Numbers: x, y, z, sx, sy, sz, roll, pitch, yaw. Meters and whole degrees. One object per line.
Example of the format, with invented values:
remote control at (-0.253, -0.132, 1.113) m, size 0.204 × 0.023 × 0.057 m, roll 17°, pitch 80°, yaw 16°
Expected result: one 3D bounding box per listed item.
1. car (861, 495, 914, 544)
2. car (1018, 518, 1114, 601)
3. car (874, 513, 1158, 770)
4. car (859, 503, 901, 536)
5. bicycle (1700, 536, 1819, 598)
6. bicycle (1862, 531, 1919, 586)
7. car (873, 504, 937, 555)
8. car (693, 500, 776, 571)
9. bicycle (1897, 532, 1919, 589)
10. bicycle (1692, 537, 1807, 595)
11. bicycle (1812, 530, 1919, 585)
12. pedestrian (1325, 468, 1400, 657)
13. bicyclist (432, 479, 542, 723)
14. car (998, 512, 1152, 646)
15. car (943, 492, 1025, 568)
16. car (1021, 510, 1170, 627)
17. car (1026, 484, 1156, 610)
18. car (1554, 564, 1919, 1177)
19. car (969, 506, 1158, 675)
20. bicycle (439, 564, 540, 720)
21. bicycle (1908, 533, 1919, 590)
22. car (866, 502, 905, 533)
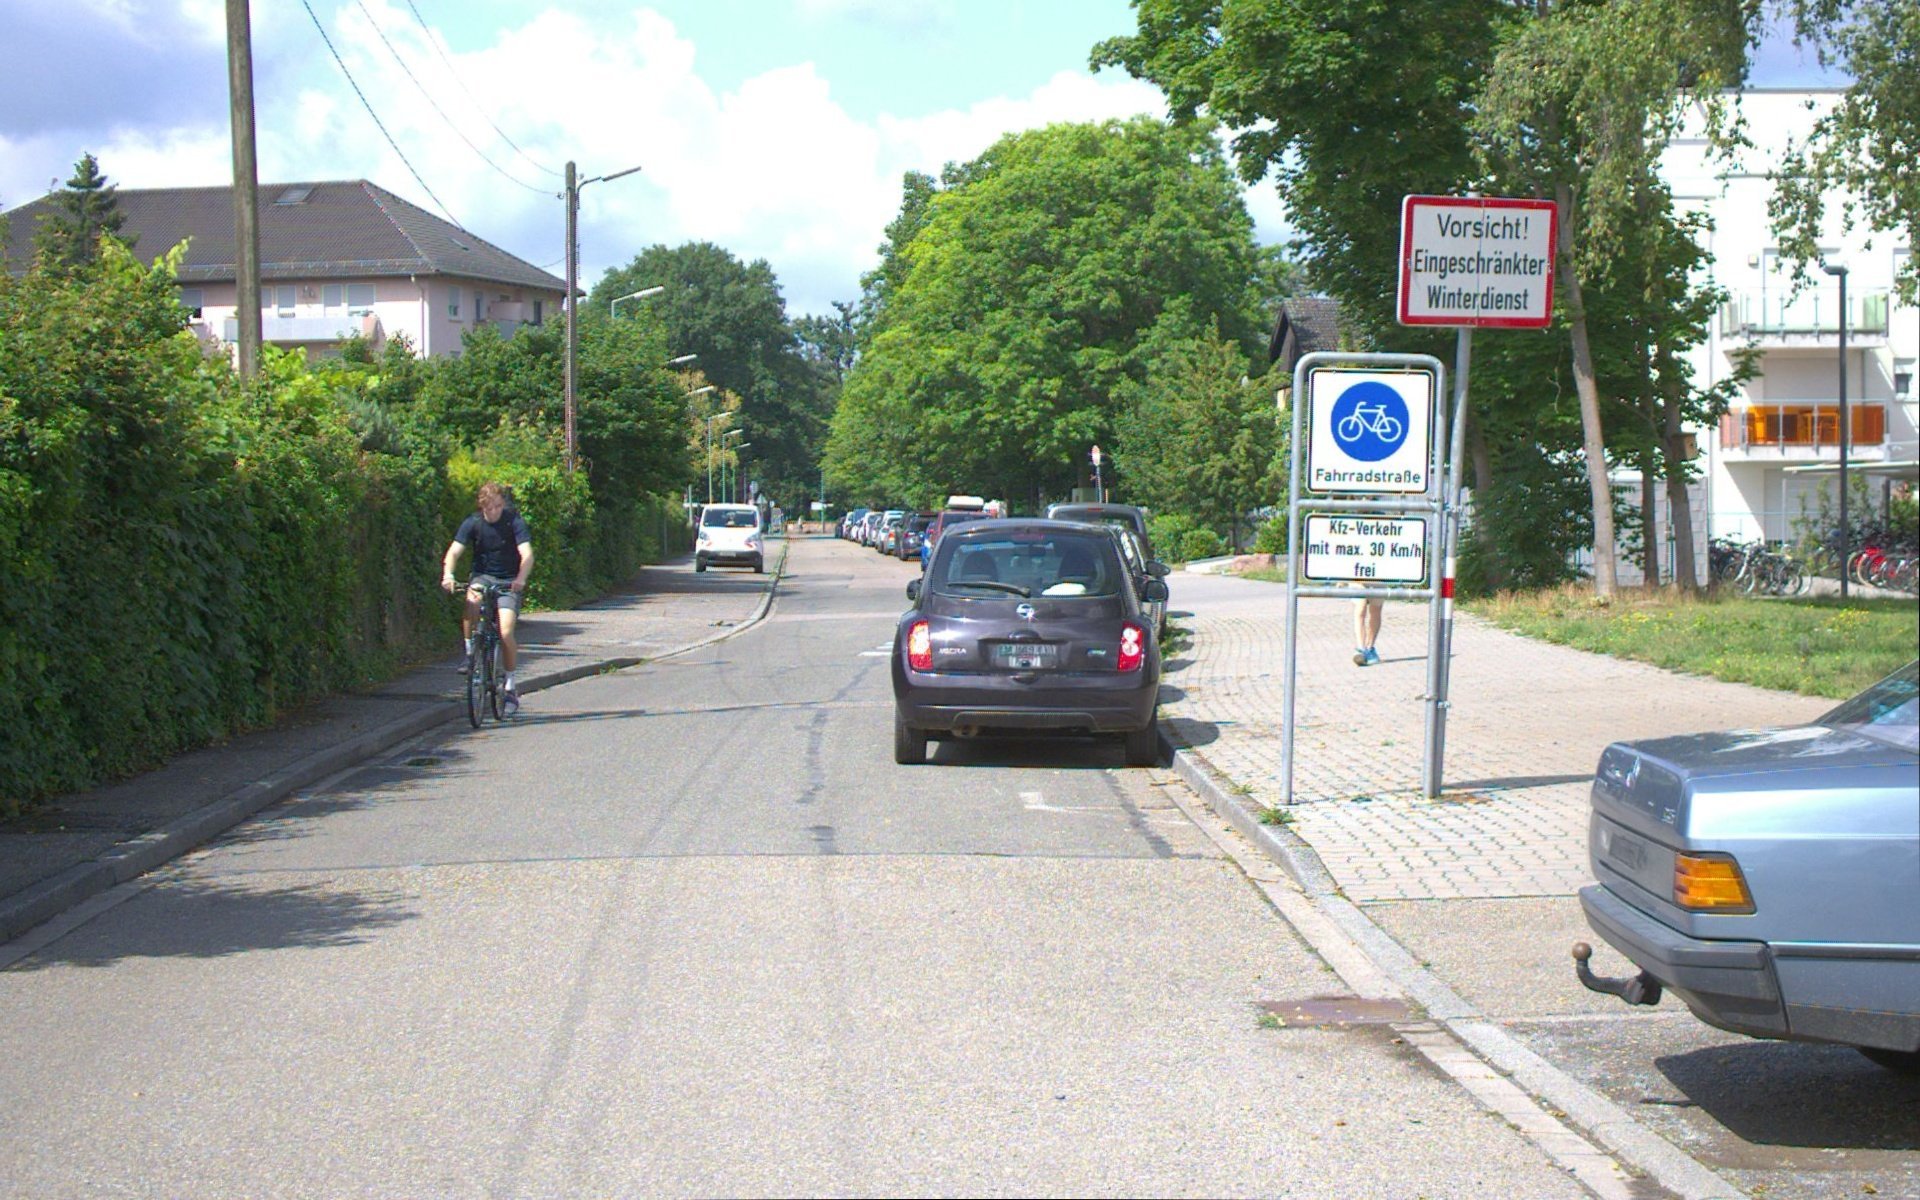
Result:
car at (-2.949, -3.280, 140.413) m, size 2.058 × 1.955 × 4.541 m, roll 1°, pitch 1°, yaw 0°
car at (2.002, -0.795, 65.723) m, size 1.678 × 1.514 × 4.000 m, roll 1°, pitch 1°, yaw 0°
car at (0.410, 0.205, 22.545) m, size 1.663 × 1.500 × 4.000 m, roll 1°, pitch 1°, yaw 2°
car at (-3.958, -3.999, 170.029) m, size 1.852 × 1.612 × 4.000 m, roll 0°, pitch 1°, yaw 2°
bicycle at (15.113, -0.625, 65.014) m, size 2.089 × 1.115 × 0.625 m, roll -1°, pitch 1°, yaw 2°
bicycle at (19.219, -0.849, 68.997) m, size 2.047 × 1.076 × 0.688 m, roll -1°, pitch 1°, yaw 1°
car at (-1.812, -2.372, 115.368) m, size 2.058 × 1.646 × 4.541 m, roll 1°, pitch 1°, yaw 0°
car at (-5.914, -1.707, 90.573) m, size 1.902 × 1.808 × 4.000 m, roll 1°, pitch 1°, yaw 0°
bicycle at (19.275, -0.792, 66.566) m, size 2.047 × 1.076 × 0.688 m, roll -1°, pitch 1°, yaw 1°
bicycle at (15.342, -0.665, 66.840) m, size 2.047 × 1.076 × 0.688 m, roll -1°, pitch 1°, yaw 1°
bicycle at (18.948, -0.894, 71.959) m, size 2.047 × 1.076 × 0.688 m, roll -1°, pitch 1°, yaw 1°
pedestrian at (3.773, -0.353, 32.222) m, size 0.610 × 1.739 × 0.721 m, roll 1°, pitch 1°, yaw 11°
bicyclist at (-3.675, -0.006, 26.766) m, size 0.658 × 1.846 × 1.043 m, roll -1°, pitch 1°, yaw 0°
car at (1.332, -0.265, 39.637) m, size 1.663 × 1.434 × 3.744 m, roll 1°, pitch 1°, yaw 2°
car at (0.610, -1.847, 90.809) m, size 2.058 × 1.919 × 4.541 m, roll 1°, pitch 1°, yaw 0°
car at (1.721, -0.429, 44.542) m, size 1.663 × 1.430 × 3.542 m, roll 1°, pitch 1°, yaw -2°
car at (1.980, -0.813, 52.047) m, size 1.874 × 1.800 × 3.432 m, roll 1°, pitch 1°, yaw 2°
car at (3.830, 0.595, 8.738) m, size 4.358 × 1.387 × 1.718 m, roll -1°, pitch 1°, yaw 2°
car at (1.074, -0.127, 34.045) m, size 1.663 × 1.547 × 3.637 m, roll 1°, pitch 1°, yaw 5°
bicycle at (-3.669, 0.307, 26.925) m, size 0.518 × 1.146 × 1.827 m, roll -2°, pitch 1°, yaw 0°
bicycle at (19.268, -0.766, 65.751) m, size 2.047 × 1.076 × 0.688 m, roll -1°, pitch 1°, yaw 1°
car at (-3.978, -4.445, 185.023) m, size 1.852 × 1.612 × 4.000 m, roll 1°, pitch 1°, yaw 2°
